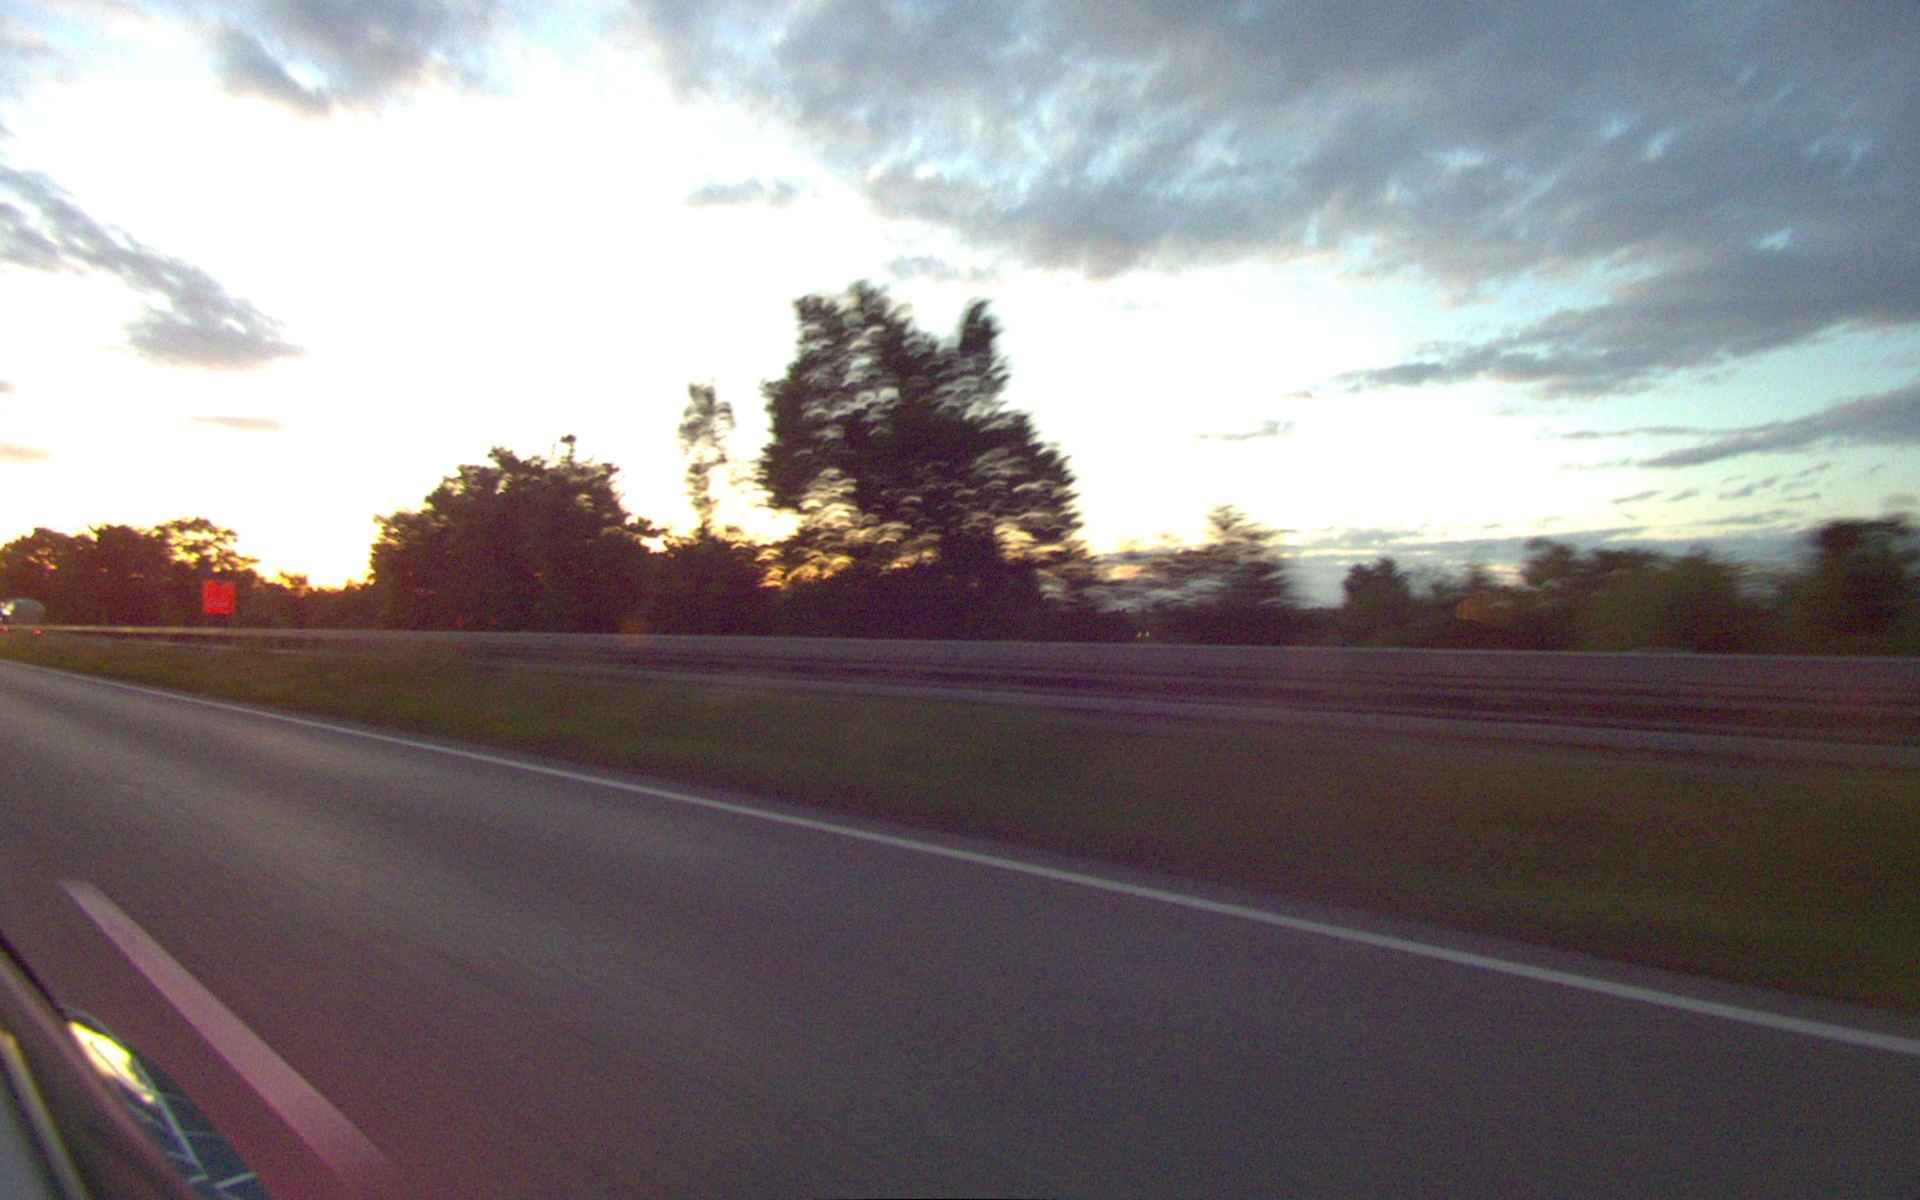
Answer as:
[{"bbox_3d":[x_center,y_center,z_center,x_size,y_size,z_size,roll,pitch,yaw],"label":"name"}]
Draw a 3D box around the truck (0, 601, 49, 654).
[{"bbox_3d":[-100.117,2.839,107.716,12.601,5.295,3.169,-1,-1,41],"label":"truck"}]
